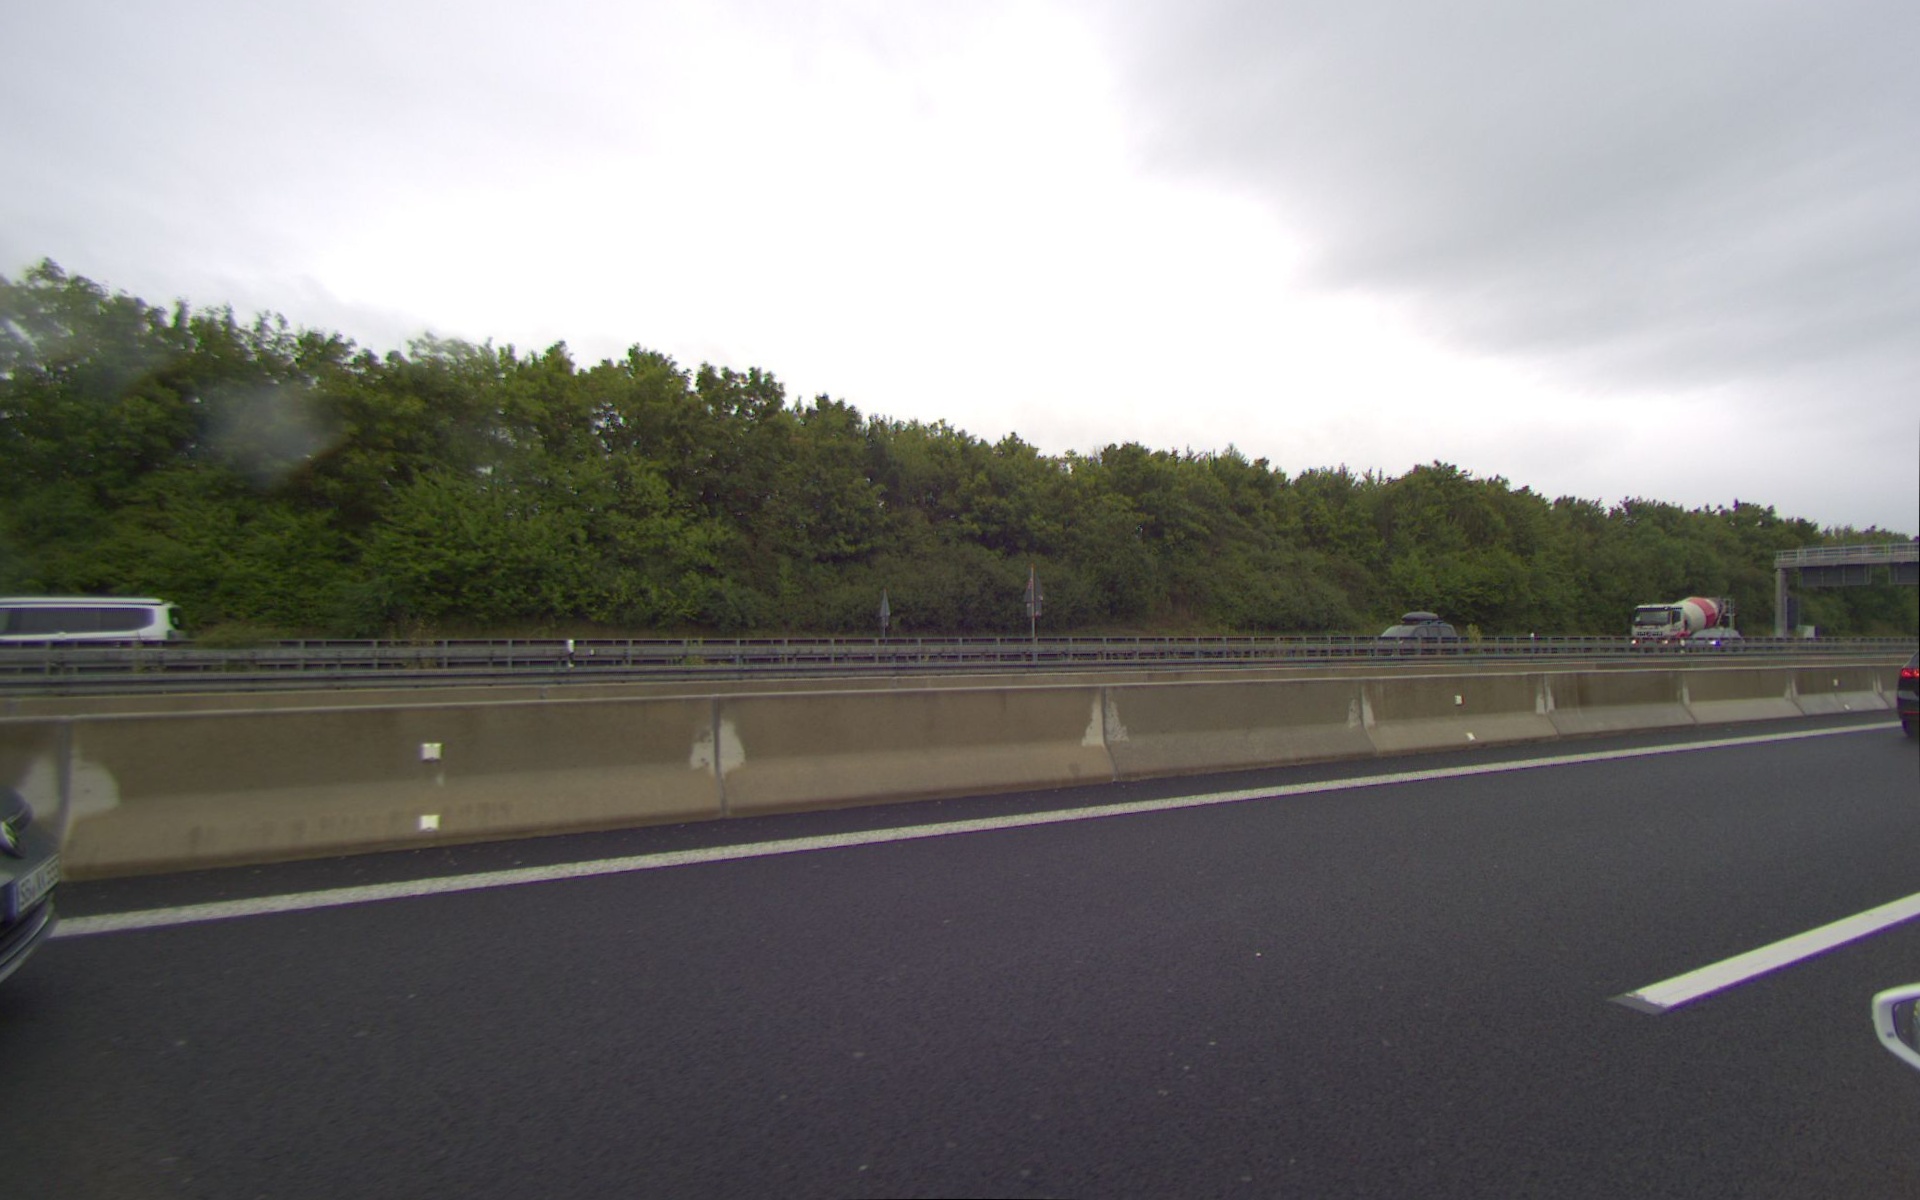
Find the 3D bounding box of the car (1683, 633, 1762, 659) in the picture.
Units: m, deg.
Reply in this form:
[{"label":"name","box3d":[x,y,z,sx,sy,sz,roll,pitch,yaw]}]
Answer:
[{"label":"car","box3d":[43.885,2.635,57.804,4.621,1.425,1.984,1,-1,-30]}]

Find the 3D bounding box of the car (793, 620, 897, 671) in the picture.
[{"label":"car","box3d":[-4.785,1.892,41.983,3.952,2.040,1.742,1,-1,-30]}]

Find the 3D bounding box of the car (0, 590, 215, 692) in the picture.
[{"label":"car","box3d":[-18.929,0.838,21.409,4.662,2.040,1.983,2,0,-32]}]

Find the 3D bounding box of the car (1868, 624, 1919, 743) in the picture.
[{"label":"car","box3d":[14.272,1.099,13.473,4.746,1.478,1.778,1,0,-31]}]

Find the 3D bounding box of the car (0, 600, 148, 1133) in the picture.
[{"label":"car","box3d":[-4.904,0.696,2.429,4.318,1.444,1.821,1,0,-31]}]

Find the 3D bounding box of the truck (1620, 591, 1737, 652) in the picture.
[{"label":"truck","box3d":[46.412,1.411,64.766,9.450,3.709,2.671,1,-1,-32]}]

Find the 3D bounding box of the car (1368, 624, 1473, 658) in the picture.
[{"label":"car","box3d":[20.630,1.830,44.971,4.621,1.425,1.984,1,-1,-30]}]
